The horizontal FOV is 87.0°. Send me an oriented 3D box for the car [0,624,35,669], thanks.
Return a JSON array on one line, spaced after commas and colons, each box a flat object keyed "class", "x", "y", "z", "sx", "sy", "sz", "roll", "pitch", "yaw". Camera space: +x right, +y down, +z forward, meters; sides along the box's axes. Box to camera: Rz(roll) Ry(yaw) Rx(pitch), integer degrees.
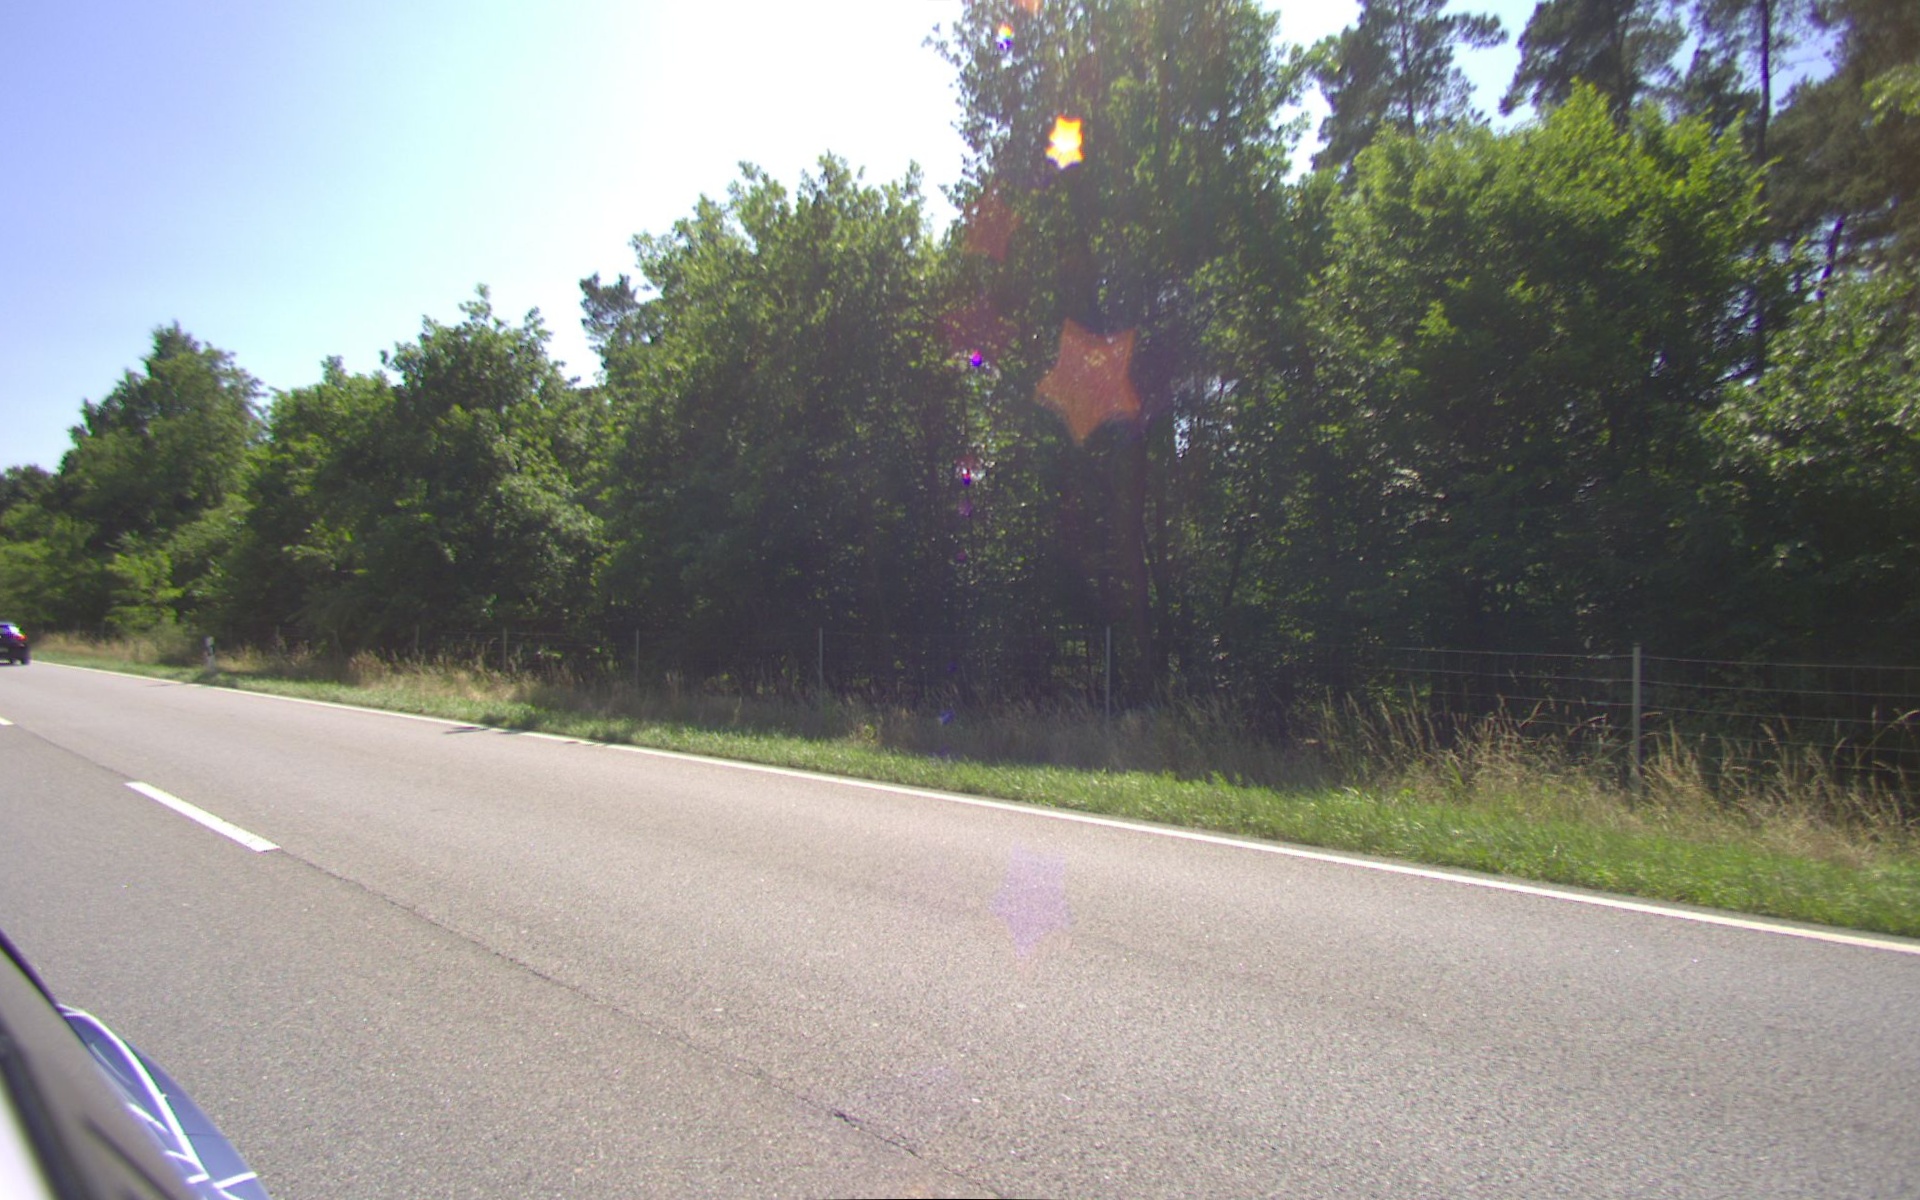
[{"class": "car", "x": -32.891, "y": 1.571, "z": 34.322, "sx": 4.058, "sy": 1.466, "sz": 1.711, "roll": -1, "pitch": -1, "yaw": 40}]
